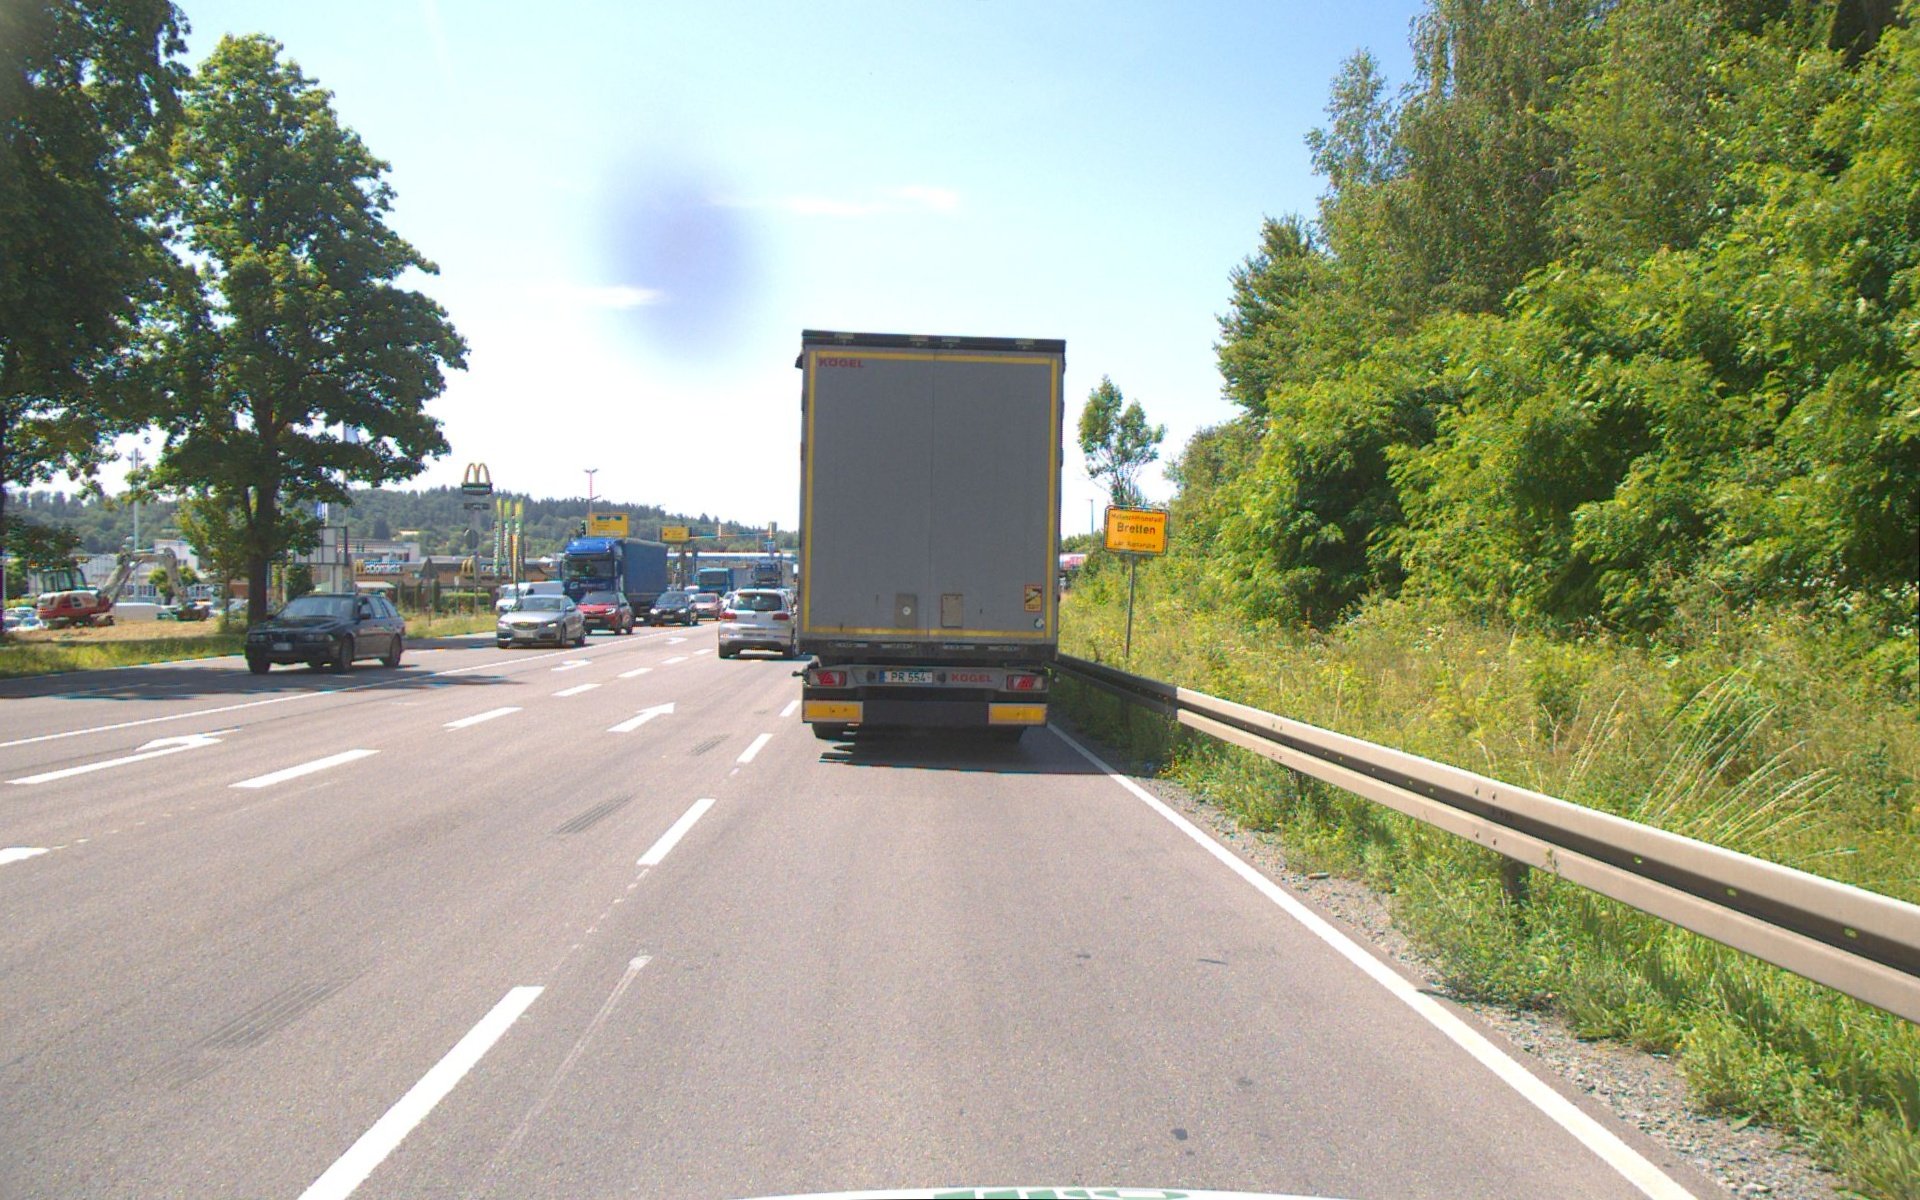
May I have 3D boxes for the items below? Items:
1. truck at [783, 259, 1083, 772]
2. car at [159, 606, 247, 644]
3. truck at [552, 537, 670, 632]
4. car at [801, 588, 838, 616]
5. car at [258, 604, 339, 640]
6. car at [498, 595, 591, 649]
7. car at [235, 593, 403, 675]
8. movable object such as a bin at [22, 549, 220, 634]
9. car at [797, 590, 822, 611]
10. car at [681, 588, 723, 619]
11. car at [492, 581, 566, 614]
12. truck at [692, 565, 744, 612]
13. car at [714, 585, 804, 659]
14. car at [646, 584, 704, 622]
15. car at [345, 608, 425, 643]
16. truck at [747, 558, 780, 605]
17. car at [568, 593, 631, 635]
[{"bbox_3d":[-0.387,-0.674,23.744,2.700,4.720,16.650,1,-1,-1],"label":"truck"},{"bbox_3d":[-34.891,1.122,76.191,3.919,1.680,1.993,0,0,36],"label":"car"},{"bbox_3d":[-17.087,-0.714,82.421,2.908,4.250,16.567,0,0,-2],"label":"truck"},{"bbox_3d":[-7.229,0.122,85.330,1.652,1.423,4.402,0,0,-1],"label":"car"},{"bbox_3d":[-32.146,1.044,80.364,3.919,1.646,1.833,0,0,36],"label":"car"},{"bbox_3d":[-11.538,0.606,46.144,1.731,1.411,3.997,1,-1,-3],"label":"car"},{"bbox_3d":[-12.046,0.629,31.347,1.731,1.411,3.997,1,-1,-3],"label":"car"},{"bbox_3d":[-34.812,-0.356,68.848,2.994,3.356,6.761,0,0,38],"label":"movable object such as a bin"},{"bbox_3d":[-15.894,0.077,174.975,2.441,2.049,5.524,1,-1,-4],"label":"car"},{"bbox_3d":[-13.721,0.174,88.030,1.732,1.471,3.773,-4,0,-3],"label":"car"},{"bbox_3d":[-29.719,-0.192,114.130,1.956,2.221,5.185,0,0,29],"label":"car"},{"bbox_3d":[-18.225,-0.841,125.260,2.789,3.410,11.475,0,0,-3],"label":"truck"},{"bbox_3d":[-4.958,0.520,41.279,1.768,1.699,4.291,1,0,-1],"label":"car"},{"bbox_3d":[-12.887,0.152,75.073,1.881,1.506,4.685,-4,0,-2],"label":"car"},{"bbox_3d":[-28.497,1.249,81.927,3.919,1.646,1.833,0,0,36],"label":"car"},{"bbox_3d":[-19.684,-1.736,165.767,3.086,4.425,17.516,0,0,-7],"label":"truck"},{"bbox_3d":[-12.940,0.483,59.553,1.609,1.463,4.014,0,0,-3],"label":"car"}]
